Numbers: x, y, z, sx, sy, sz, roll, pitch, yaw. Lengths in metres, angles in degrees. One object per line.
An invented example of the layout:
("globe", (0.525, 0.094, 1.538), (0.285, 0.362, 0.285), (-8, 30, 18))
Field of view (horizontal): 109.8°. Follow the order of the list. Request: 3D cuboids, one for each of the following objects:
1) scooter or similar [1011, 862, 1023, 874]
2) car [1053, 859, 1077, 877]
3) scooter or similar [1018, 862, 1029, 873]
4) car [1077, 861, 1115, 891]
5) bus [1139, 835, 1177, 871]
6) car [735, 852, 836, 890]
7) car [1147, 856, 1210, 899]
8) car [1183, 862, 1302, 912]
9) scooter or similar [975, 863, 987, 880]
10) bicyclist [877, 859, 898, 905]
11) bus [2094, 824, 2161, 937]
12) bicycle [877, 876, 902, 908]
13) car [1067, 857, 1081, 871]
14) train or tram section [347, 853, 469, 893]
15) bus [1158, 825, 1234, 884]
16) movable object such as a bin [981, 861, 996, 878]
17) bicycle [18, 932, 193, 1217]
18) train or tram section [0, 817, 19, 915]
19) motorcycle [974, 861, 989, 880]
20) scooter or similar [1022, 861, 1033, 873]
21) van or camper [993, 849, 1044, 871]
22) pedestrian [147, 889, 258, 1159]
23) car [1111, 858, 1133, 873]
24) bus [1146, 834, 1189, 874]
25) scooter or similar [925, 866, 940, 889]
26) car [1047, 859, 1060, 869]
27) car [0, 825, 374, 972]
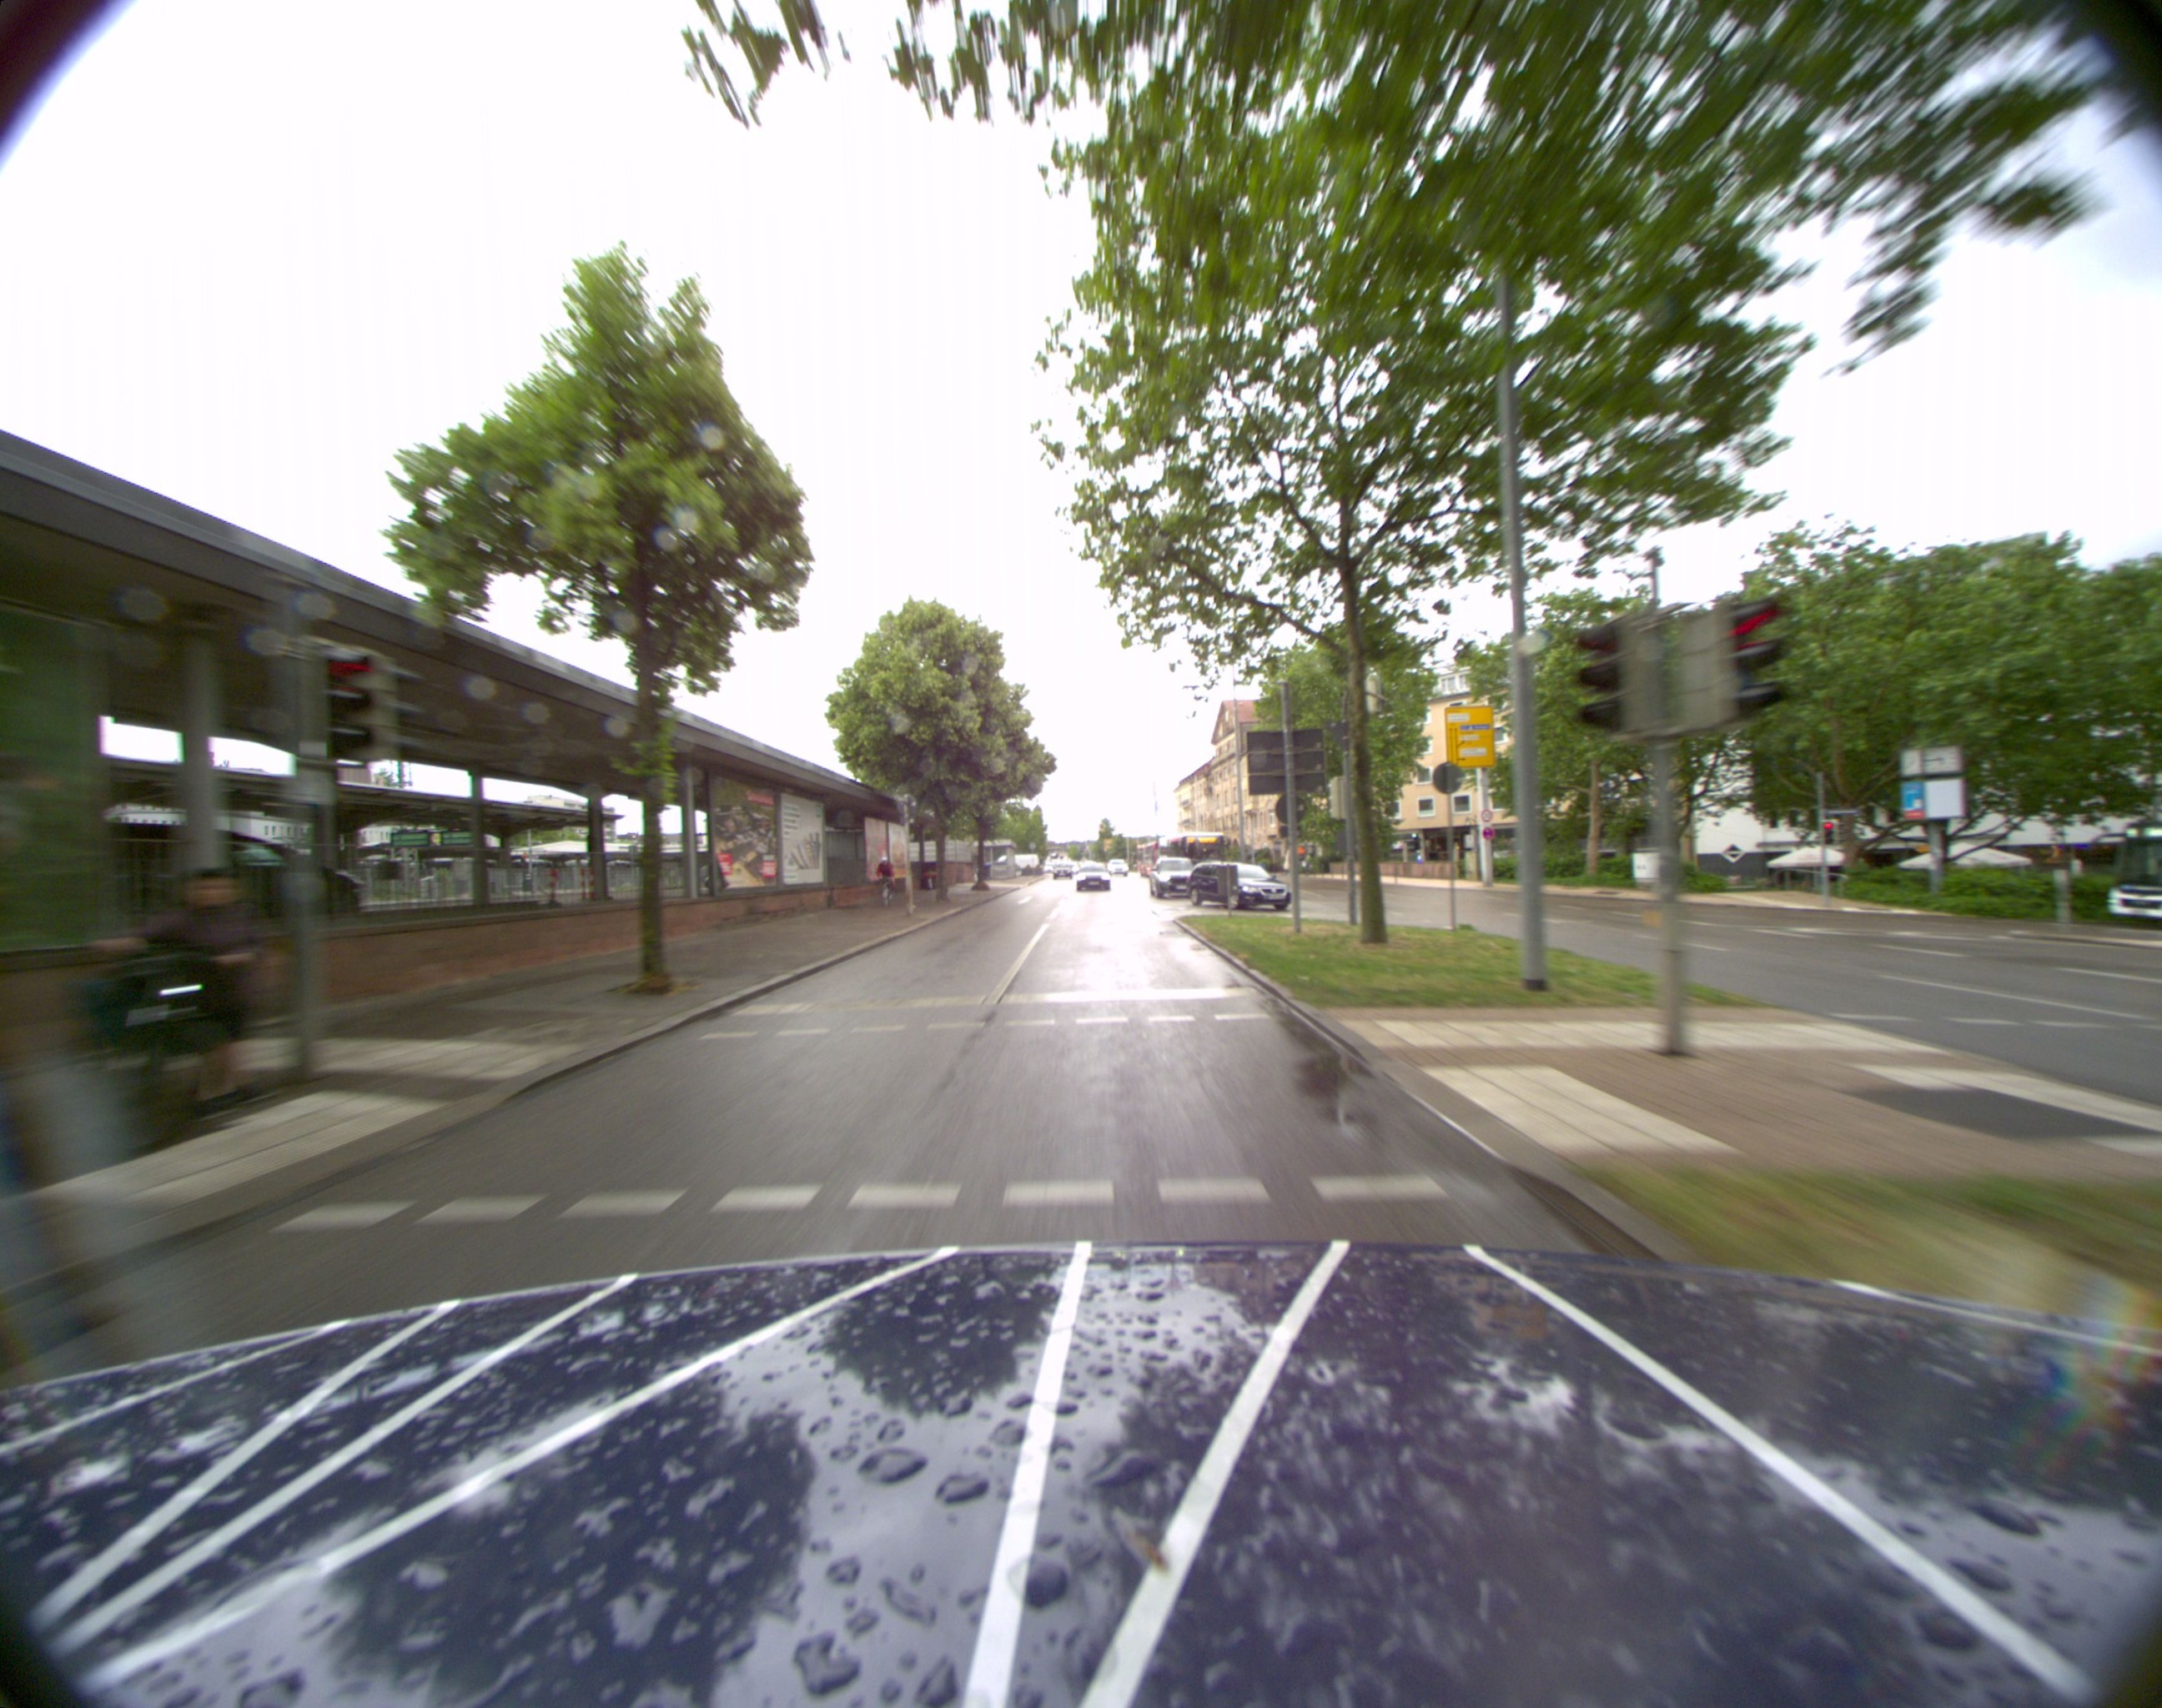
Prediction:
("scooter or similar", (-6.896, 1.520, 82.277), (1.067, 1.148, 1.667), (-2, 1, 1))
("car", (-1.383, 1.203, 66.943), (1.871, 1.465, 3.827), (-1, 0, 3))
("scooter or similar", (-6.288, 1.449, 82.832), (0.413, 1.148, 1.265), (-3, -1, 32))
("car", (0.818, 1.122, 39.475), (1.871, 1.465, 3.827), (-1, 0, 3))
("bus", (7.321, -0.114, 73.616), (2.817, 3.227, 9.913), (-1, 0, 1))
("car", (-12.464, 0.704, 32.218), (3.565, 1.533, 1.747), (0, 0, 5))
("car", (4.000, 0.934, 31.856), (1.969, 1.630, 4.358), (-1, 0, -1))
("car", (4.968, 0.966, 24.075), (1.822, 1.401, 4.408), (-1, 0, -16))
("scooter or similar", (-6.894, 1.219, 52.357), (0.495, 1.146, 1.712), (-1, 0, -19))
("bicyclist", (-6.541, 0.931, 25.748), (0.535, 1.529, 0.694), (1, 0, -2))
("bus", (34.357, 0.888, 18.416), (11.943, 3.002, 2.894), (2, 1, 21))
("bicycle", (-6.494, 1.275, 25.789), (0.447, 1.010, 1.677), (1, 0, -2))
("car", (-0.819, 1.133, 86.194), (1.619, 1.477, 3.669), (0, 0, -1))
("train or tram section", (-66.079, 1.767, 75.076), (2.747, 3.582, 10.927), (-1, 0, -3))
("bus", (7.325, 0.069, 50.591), (2.963, 3.419, 12.558), (-1, 0, -1))
("movable object such as a bin", (-7.456, 1.211, 61.478), (1.036, 1.330, 1.317), (-1, 0, -1))
("bicycle", (-5.640, 1.140, 4.368), (1.720, 1.241, 0.487), (1, 0, 34))
("train or tram section", (-37.293, 0.399, 20.978), (2.661, 3.263, 9.519), (0, 0, -1))
("motorcycle", (-7.144, 1.151, 54.546), (0.794, 1.340, 2.457), (-1, 0, -2))
("scooter or similar", (-5.814, 1.418, 82.601), (0.413, 1.148, 1.266), (8, 0, 32))
("van or camper", (-8.388, 0.764, 102.593), (6.541, 2.852, 2.275), (-1, 0, -30))
("pedestrian", (-5.485, 1.013, 4.748), (0.457, 1.559, 0.394), (0, 1, 35))
("car", (4.053, 1.080, 75.573), (1.983, 1.438, 3.909), (0, 0, 1))
("bus", (7.215, -0.022, 64.356), (2.759, 3.114, 8.843), (-1, 0, 1))
("scooter or similar", (-7.716, 1.208, 39.489), (0.494, 1.146, 1.545), (-1, 0, -2))
("car", (-4.061, 1.553, 114.109), (1.661, 1.465, 3.589), (-1, 0, 2))
("car", (-14.292, 0.581, 11.963), (1.999, 1.860, 4.597), (-1, 0, -1))
